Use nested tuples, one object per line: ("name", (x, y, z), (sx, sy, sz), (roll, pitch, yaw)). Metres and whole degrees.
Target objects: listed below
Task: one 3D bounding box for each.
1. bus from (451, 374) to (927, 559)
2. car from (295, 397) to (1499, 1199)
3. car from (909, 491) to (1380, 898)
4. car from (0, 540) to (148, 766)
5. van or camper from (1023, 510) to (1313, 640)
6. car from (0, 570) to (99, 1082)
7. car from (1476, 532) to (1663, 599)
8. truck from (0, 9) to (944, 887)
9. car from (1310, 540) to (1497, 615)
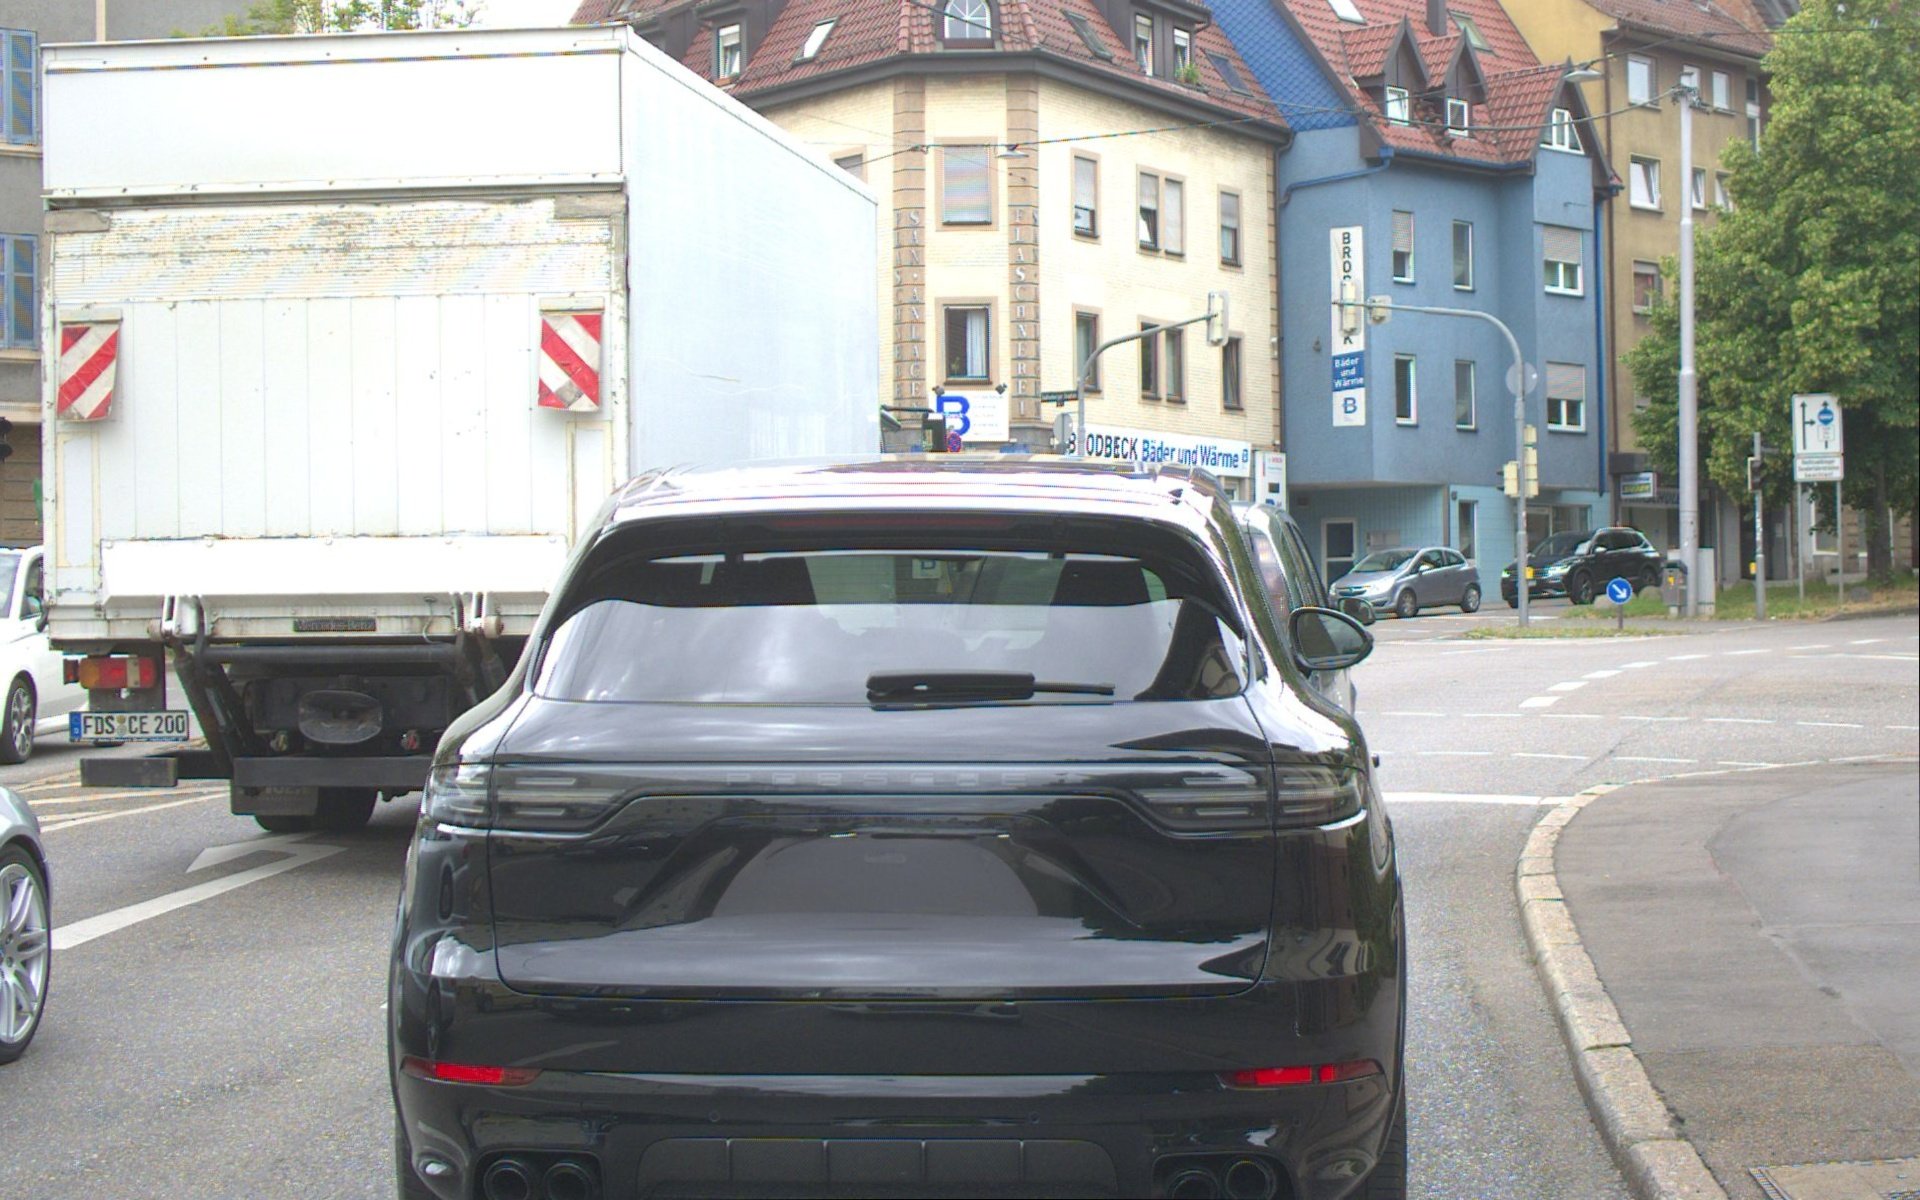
("bus", (-5.570, -2.478, 67.221), (3.158, 3.085, 12.148), (-2, 0, -37))
("car", (-0.136, 0.468, 8.103), (2.031, 1.717, 4.500), (1, 1, -1))
("car", (0.923, 0.345, 15.127), (1.649, 1.550, 3.581), (1, 1, 10))
("car", (-6.861, 0.336, 23.494), (1.598, 1.442, 3.530), (-2, 1, 3))
("van or camper", (3.315, -0.427, 55.626), (1.994, 2.007, 4.830), (0, 1, -37))
("car", (-3.489, 0.648, 7.997), (1.629, 1.360, 4.128), (-1, 1, 5))
("car", (13.550, -0.748, 76.288), (1.874, 1.411, 4.687), (-1, -1, 42))
("truck", (-2.048, -0.709, 18.191), (2.726, 3.532, 8.419), (1, 1, 8))
("car", (9.192, -0.470, 71.100), (1.721, 1.471, 4.208), (-1, 0, 42))
